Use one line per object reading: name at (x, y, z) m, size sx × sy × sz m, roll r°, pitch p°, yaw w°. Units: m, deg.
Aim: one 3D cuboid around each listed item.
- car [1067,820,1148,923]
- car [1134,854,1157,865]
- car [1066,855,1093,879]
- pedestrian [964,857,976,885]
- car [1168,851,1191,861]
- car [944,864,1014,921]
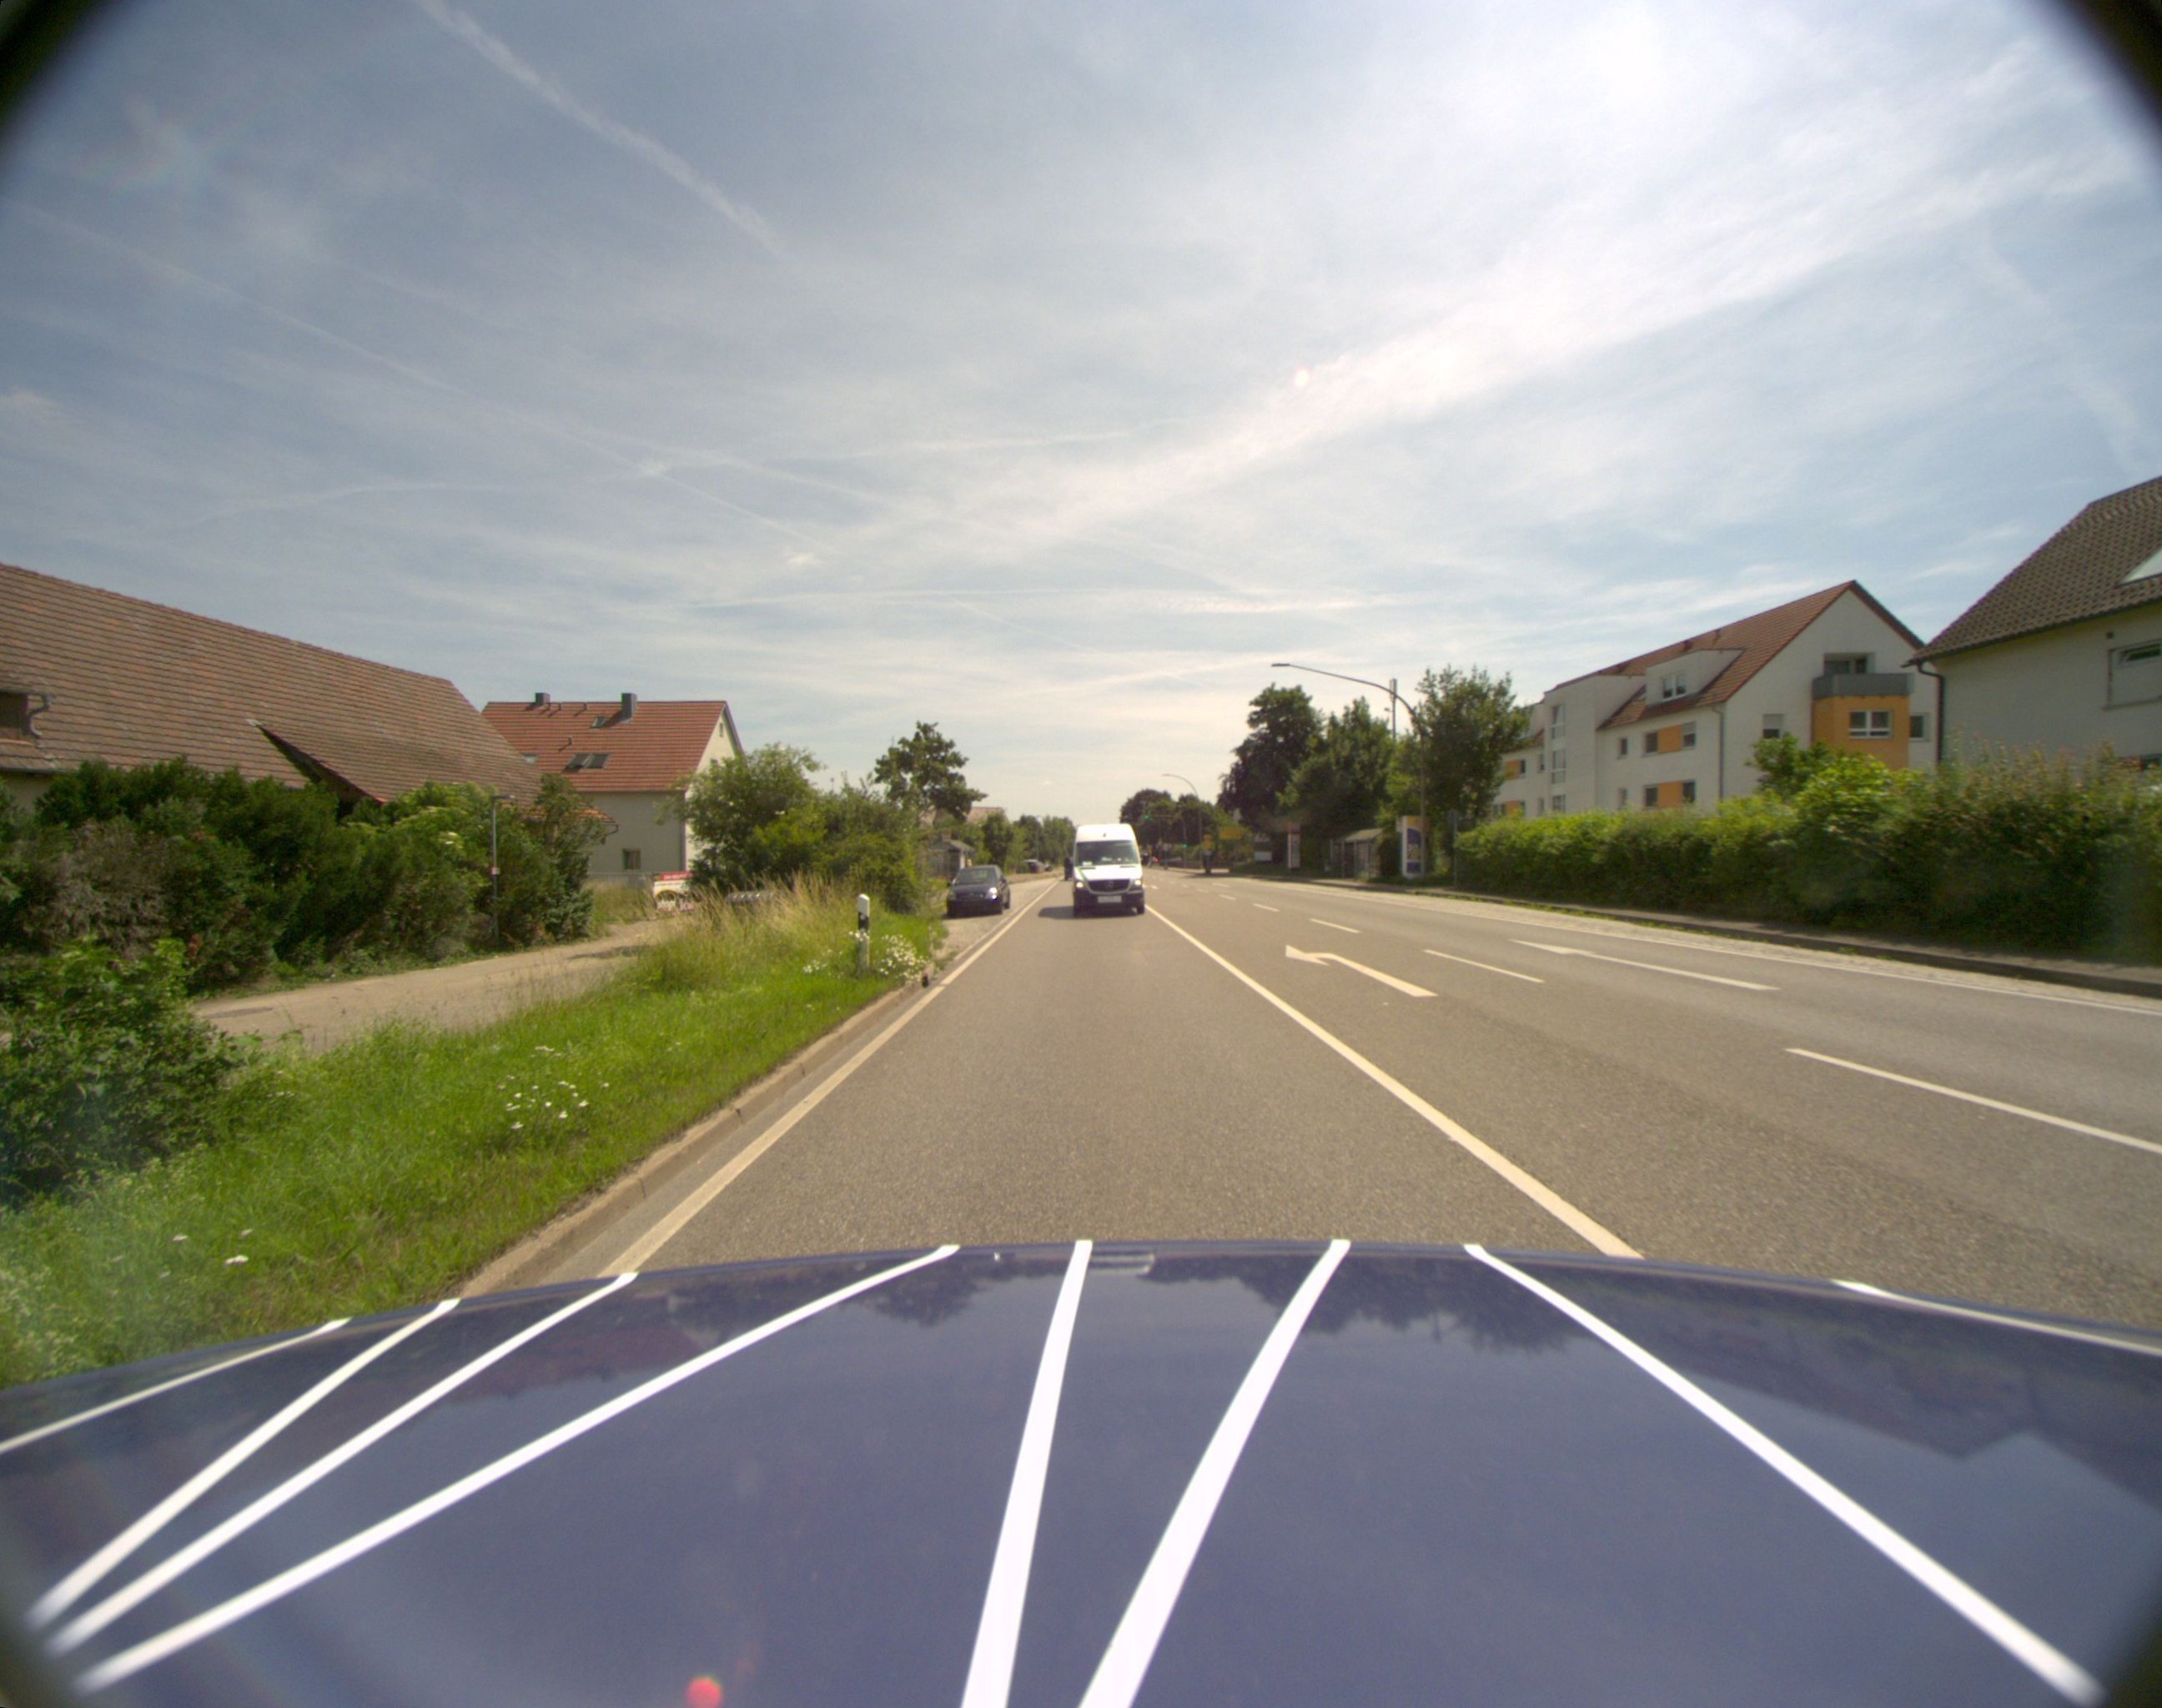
car at (0.726, 0.433, 21.884) m, size 1.939 × 2.514 × 5.749 m, roll -2°, pitch 0°, yaw 1°
car at (12.240, 1.039, 144.057) m, size 3.998 × 1.744 × 1.999 m, roll -3°, pitch 1°, yaw -4°
car at (-0.070, 0.957, 58.743) m, size 1.884 × 1.652 × 4.626 m, roll -3°, pitch 0°, yaw 1°
pedestrian at (-6.252, 0.933, 42.770) m, size 0.522 × 1.540 × 0.562 m, roll -2°, pitch 2°, yaw -18°
car at (18.737, 0.344, 144.178) m, size 3.998 × 1.760 × 1.999 m, roll -3°, pitch 1°, yaw -3°
car at (-3.128, 1.148, 23.917) m, size 1.636 × 1.476 × 3.552 m, roll -5°, pitch 0°, yaw 0°
